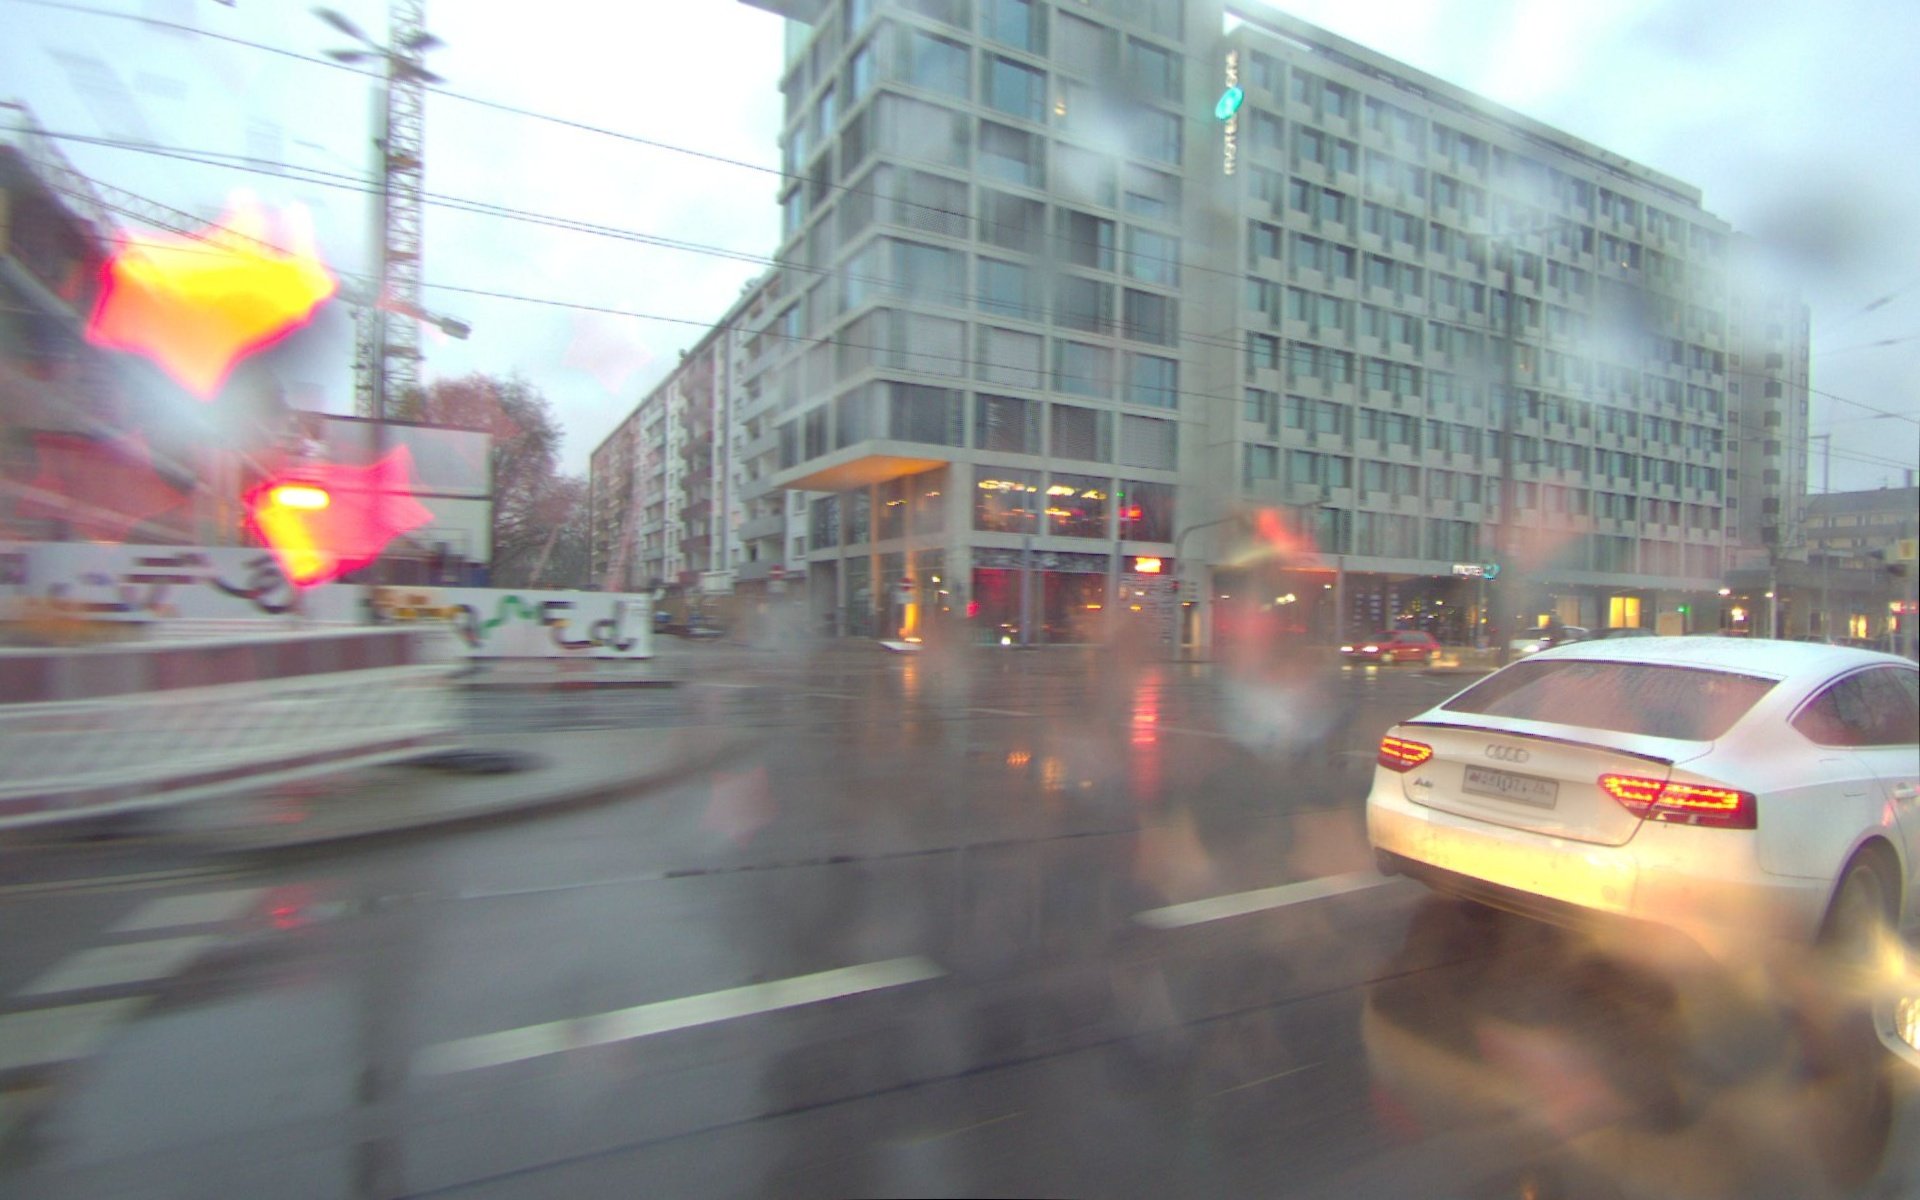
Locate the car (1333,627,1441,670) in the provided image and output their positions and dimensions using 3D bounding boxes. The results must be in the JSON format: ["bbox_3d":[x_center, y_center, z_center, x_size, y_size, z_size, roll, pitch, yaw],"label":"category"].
[{"bbox_3d":[17.251,1.945,40.590,3.947,1.595,1.875,2,0,-26],"label":"car"}]

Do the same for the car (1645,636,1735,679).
[{"bbox_3d":[28.866,2.210,39.671,5.060,1.481,1.974,2,0,-44],"label":"car"}]

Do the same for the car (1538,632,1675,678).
[{"bbox_3d":[23.202,1.952,36.023,5.034,1.481,1.984,2,0,-29],"label":"car"}]

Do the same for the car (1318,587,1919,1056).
[{"bbox_3d":[3.949,0.762,5.072,4.203,1.489,1.751,2,0,-31],"label":"car"}]

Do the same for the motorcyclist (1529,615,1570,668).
[{"bbox_3d":[21.880,1.543,37.293,1.021,1.910,0.867,2,1,-29],"label":"motorcyclist"}]

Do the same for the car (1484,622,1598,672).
[{"bbox_3d":[23.015,1.863,39.750,4.544,1.813,1.872,2,0,-30],"label":"car"}]

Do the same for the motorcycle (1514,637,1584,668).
[{"bbox_3d":[21.908,1.959,37.324,2.931,1.071,0.867,2,0,-30],"label":"motorcycle"}]
